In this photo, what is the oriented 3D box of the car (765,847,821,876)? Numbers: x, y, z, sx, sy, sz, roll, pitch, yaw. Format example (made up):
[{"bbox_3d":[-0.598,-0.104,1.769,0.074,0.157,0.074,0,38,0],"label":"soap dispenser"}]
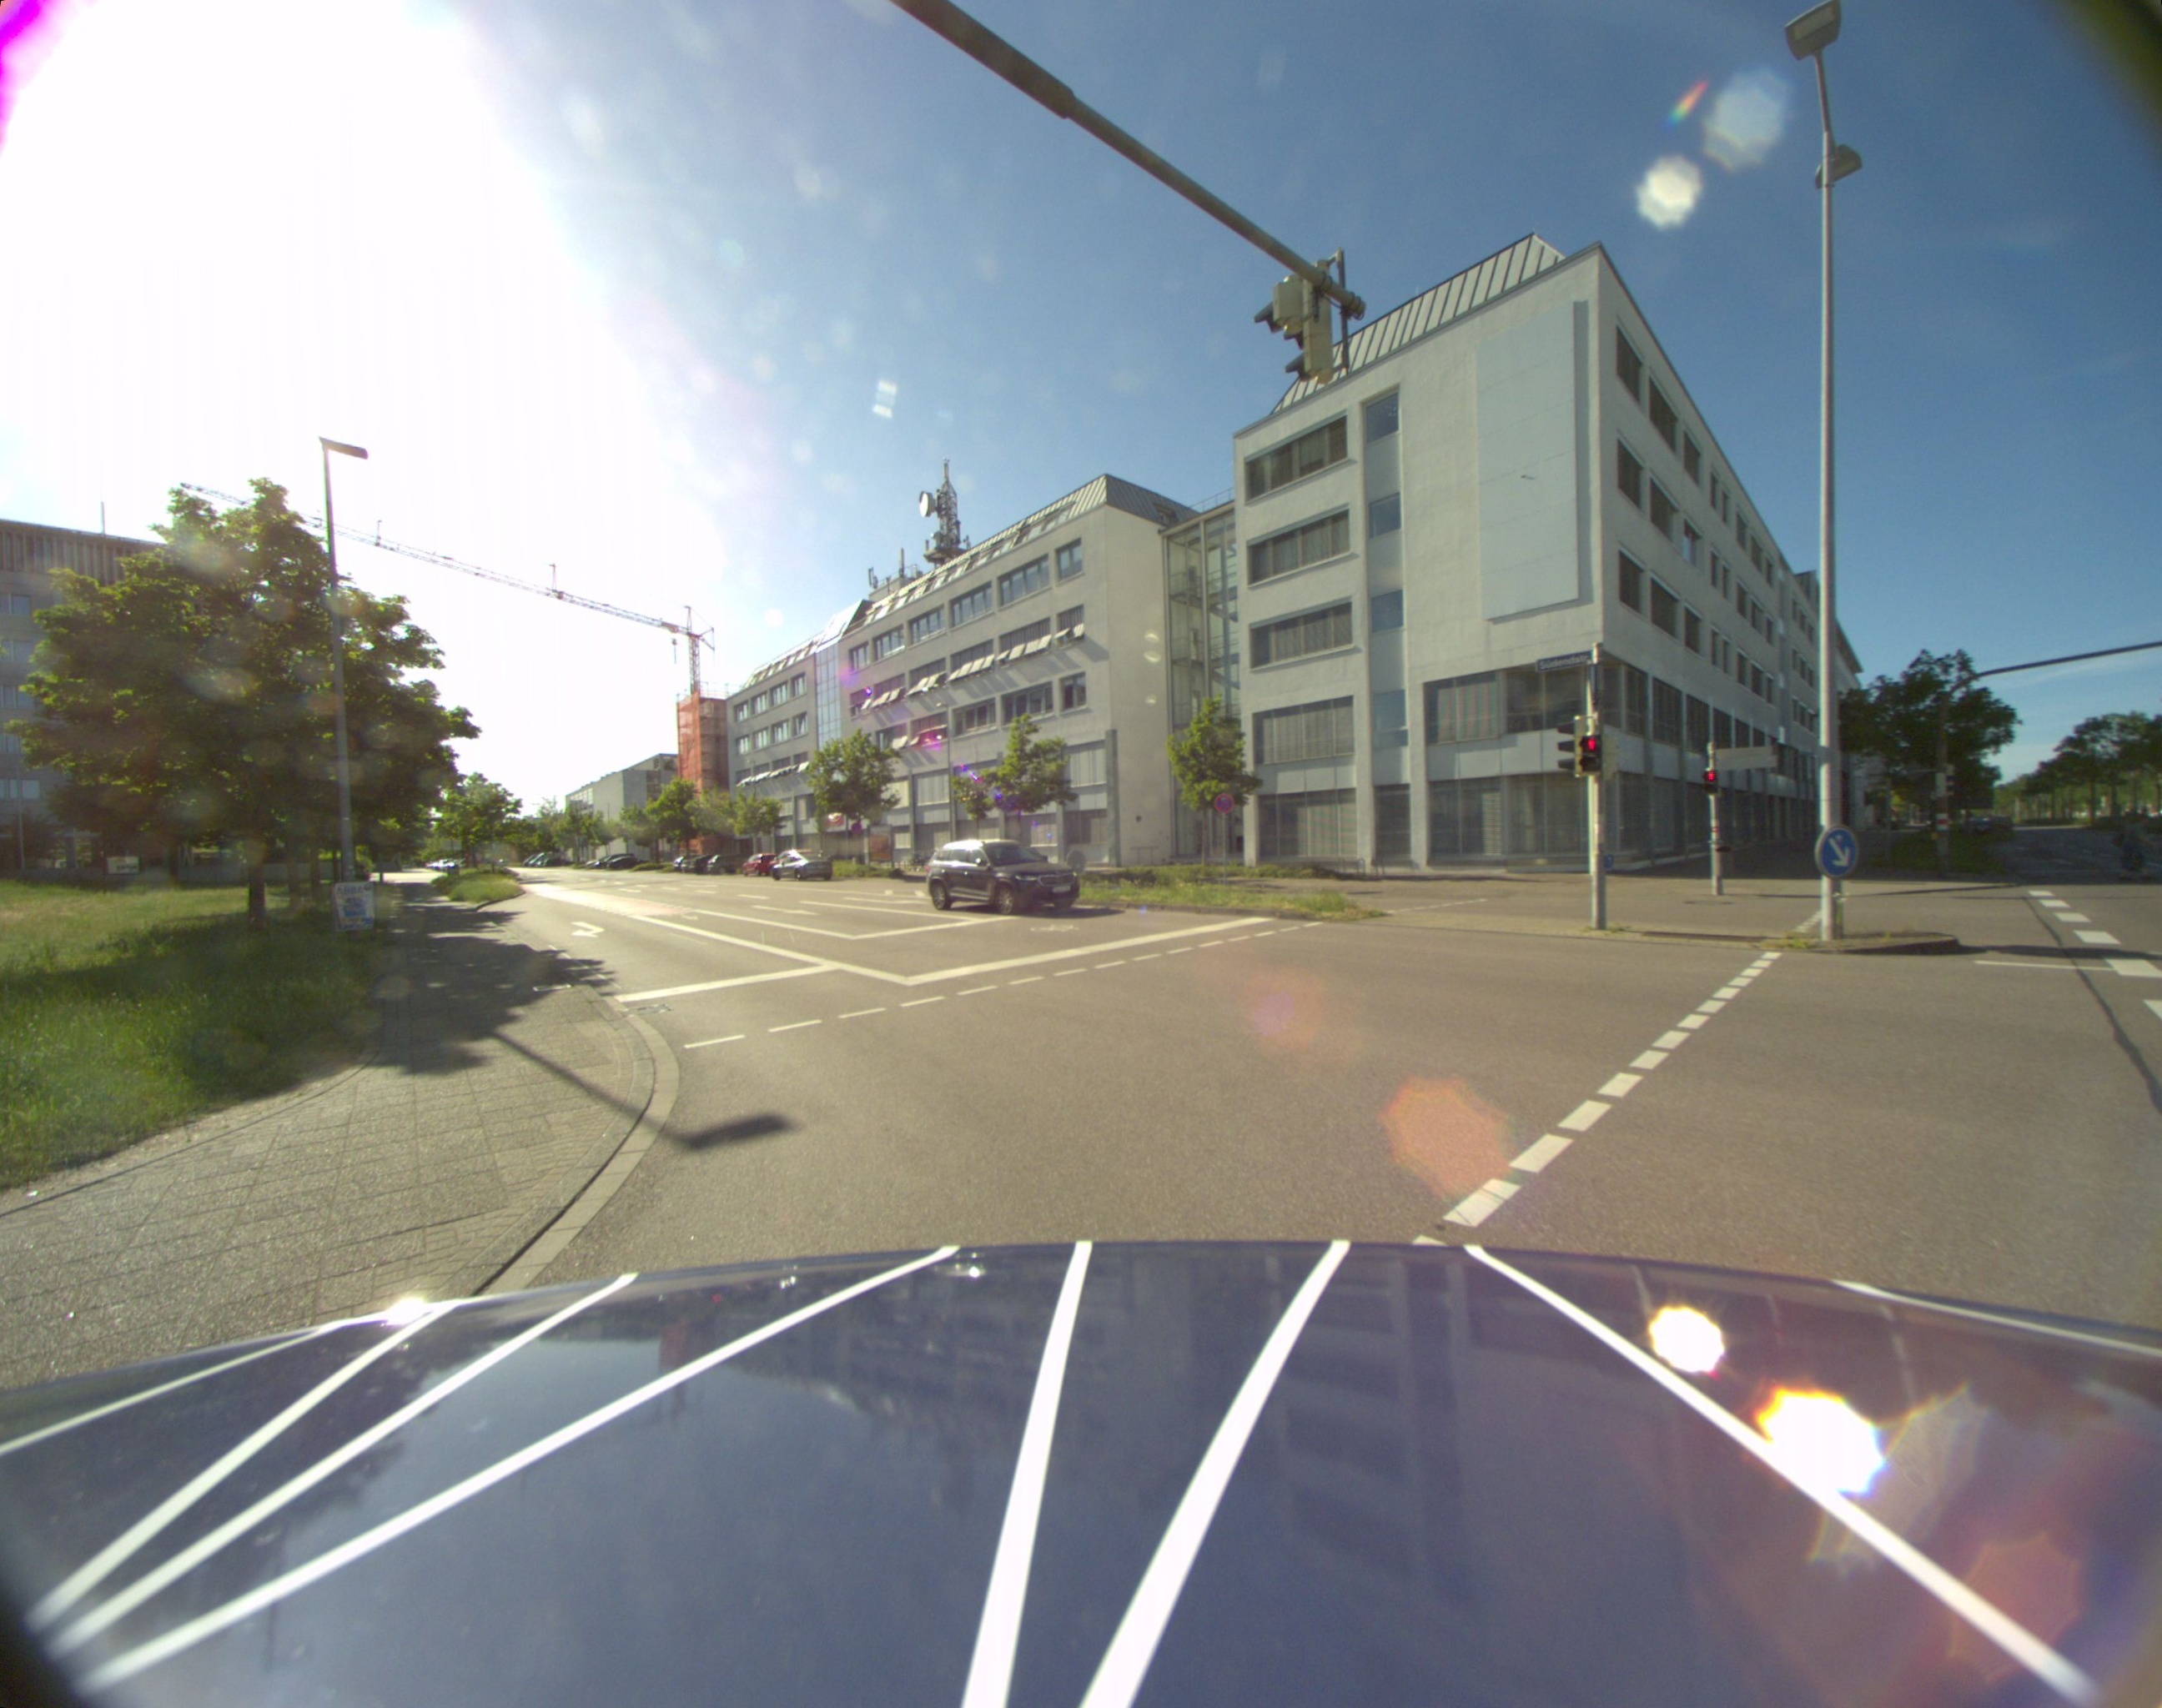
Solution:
[{"bbox_3d":[-17.987,0.453,47.350,1.696,1.598,4.298,-6,4,-42],"label":"car"}]

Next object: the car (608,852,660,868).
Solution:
[{"bbox_3d":[-48.128,0.648,81.867,4.407,1.424,1.972,-6,4,-45],"label":"car"}]

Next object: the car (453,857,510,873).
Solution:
[{"bbox_3d":[-60.837,1.093,77.103,4.425,1.455,1.890,-1,1,-41],"label":"car"}]

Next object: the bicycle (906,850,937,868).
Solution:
[{"bbox_3d":[-9.833,0.307,46.850,1.776,1.063,0.554,-1,1,-34],"label":"bicycle"}]

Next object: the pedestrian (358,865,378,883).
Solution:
[{"bbox_3d":[-46.822,1.304,49.882,0.726,1.210,0.849,0,1,36],"label":"pedestrian"}]

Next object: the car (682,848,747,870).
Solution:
[{"bbox_3d":[-30.180,0.368,62.654,4.406,1.424,1.689,-6,4,-40],"label":"car"}]

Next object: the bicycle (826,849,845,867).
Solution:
[{"bbox_3d":[-18.338,0.285,56.691,0.712,1.339,2.226,-1,1,-36],"label":"bicycle"}]

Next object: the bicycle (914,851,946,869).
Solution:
[{"bbox_3d":[-9.187,0.341,46.391,1.797,1.063,0.620,-1,1,-34],"label":"bicycle"}]

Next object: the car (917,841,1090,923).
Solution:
[{"bbox_3d":[-1.992,0.595,18.355,1.762,1.619,4.465,-6,4,-42],"label":"car"}]

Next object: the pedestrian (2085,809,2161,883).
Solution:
[{"bbox_3d":[25.113,-0.189,18.202,1.151,1.717,0.815,0,2,44],"label":"pedestrian"}]

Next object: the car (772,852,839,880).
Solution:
[{"bbox_3d":[-15.149,0.632,41.628,1.697,1.460,4.534,-2,1,-44],"label":"car"}]

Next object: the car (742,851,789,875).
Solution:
[{"bbox_3d":[-21.244,0.560,51.059,1.696,1.424,3.860,-6,4,-41],"label":"car"}]

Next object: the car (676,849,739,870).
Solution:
[{"bbox_3d":[-31.632,0.436,64.336,4.406,1.424,1.689,-6,4,-40],"label":"car"}]

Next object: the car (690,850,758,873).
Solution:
[{"bbox_3d":[-27.811,0.577,59.222,4.407,1.424,1.689,-6,4,-44],"label":"car"}]

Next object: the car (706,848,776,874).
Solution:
[{"bbox_3d":[-25.538,0.505,57.169,1.689,1.530,4.407,0,4,44],"label":"car"}]

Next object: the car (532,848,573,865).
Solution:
[{"bbox_3d":[-90.958,0.423,130.808,5.596,2.469,2.004,-6,4,-39],"label":"car"}]
